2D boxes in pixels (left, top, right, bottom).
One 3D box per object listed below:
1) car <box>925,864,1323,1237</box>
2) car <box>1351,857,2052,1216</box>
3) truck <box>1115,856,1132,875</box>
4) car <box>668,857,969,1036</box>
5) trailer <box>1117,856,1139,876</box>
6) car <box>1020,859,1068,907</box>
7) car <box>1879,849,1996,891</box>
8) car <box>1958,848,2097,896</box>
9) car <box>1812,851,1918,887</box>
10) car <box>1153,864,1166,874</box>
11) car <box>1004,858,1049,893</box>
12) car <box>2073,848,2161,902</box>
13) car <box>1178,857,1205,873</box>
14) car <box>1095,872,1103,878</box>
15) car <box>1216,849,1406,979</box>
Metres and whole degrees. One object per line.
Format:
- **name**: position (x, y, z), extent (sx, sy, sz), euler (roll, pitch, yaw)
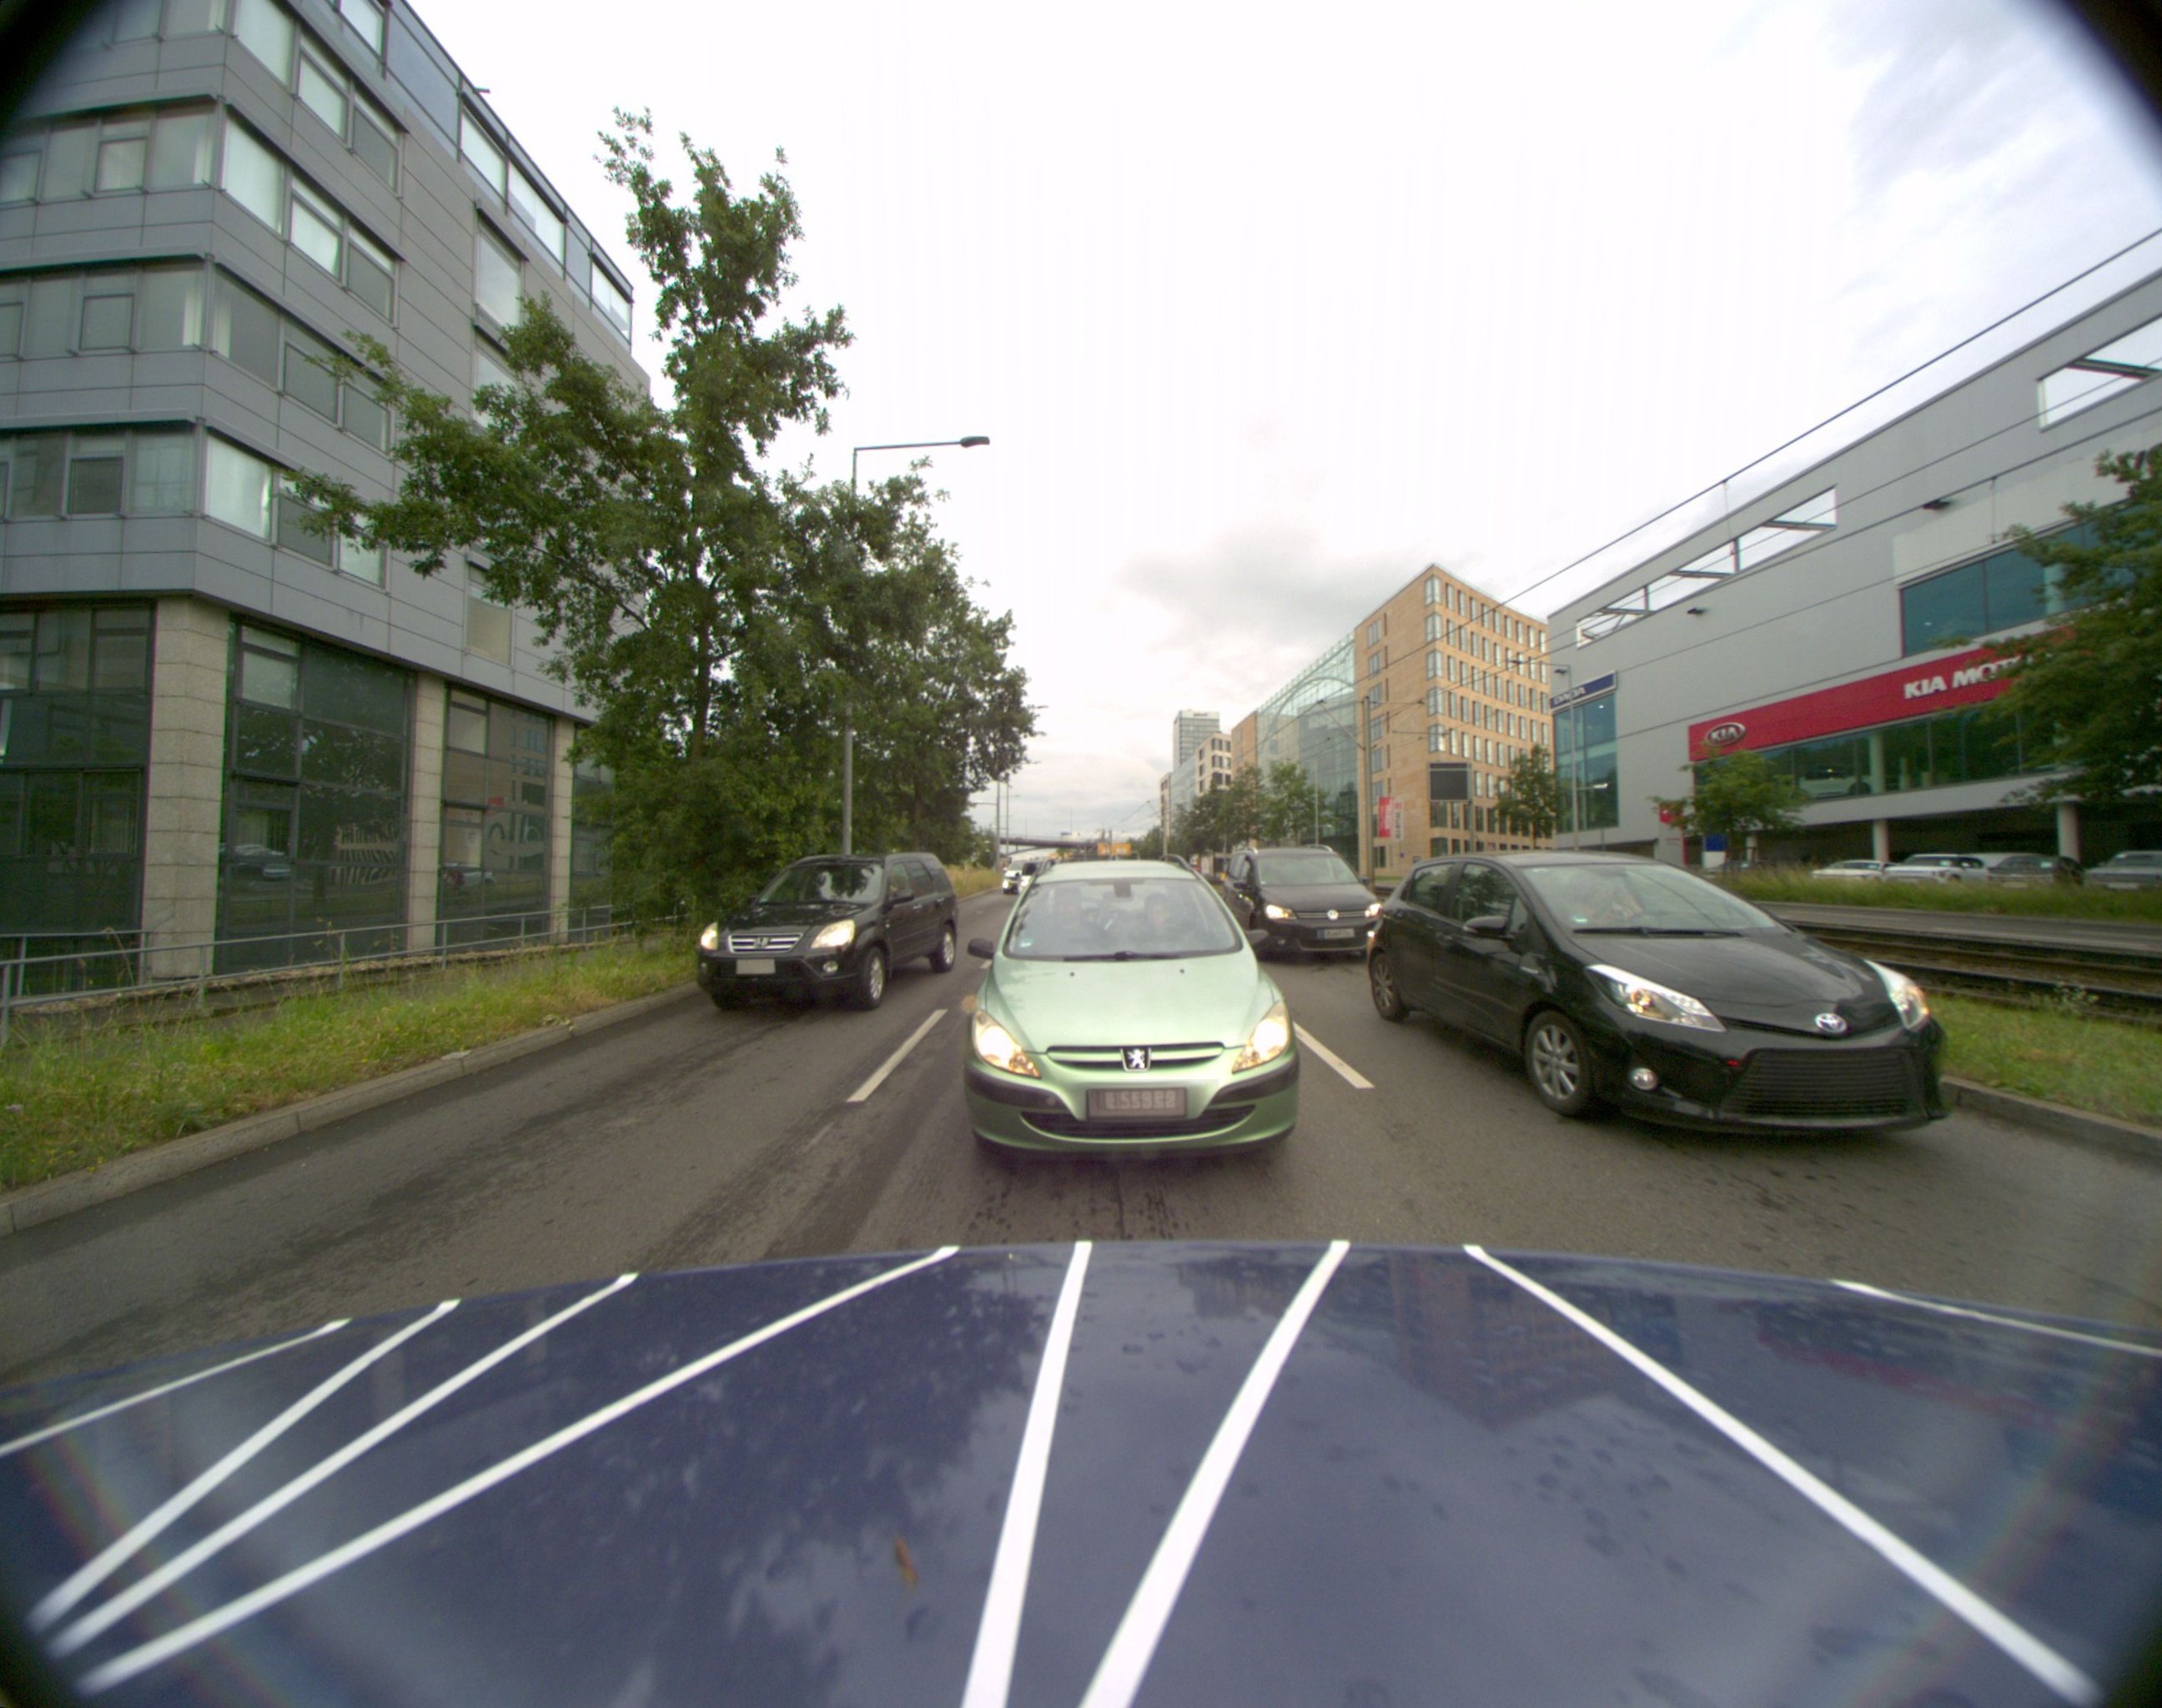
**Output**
- **car**: position (0.174, 0.885, 5.501), extent (1.704, 1.523, 4.370), euler (-1, 0, -1)
- **car**: position (3.429, 0.811, 5.267), extent (1.704, 1.523, 3.826), euler (-1, 0, -1)
- **truck**: position (9.789, 2.619, 176.212), extent (3.144, 4.219, 7.026), euler (2, 0, -3)
- **car**: position (-2.826, 0.894, 9.371), extent (1.758, 1.649, 4.340), euler (-1, 0, 7)
- **trailer**: position (10.276, 2.584, 168.363), extent (3.143, 4.304, 13.277), euler (2, 0, -3)
- **car**: position (-1.289, 0.941, 26.025), extent (1.518, 1.495, 3.167), euler (-1, 0, -4)
- **car**: position (31.762, 0.565, 28.169), extent (3.668, 1.287, 1.696), euler (-4, 1, -22)
- **car**: position (31.601, 0.573, 25.388), extent (3.528, 1.344, 1.696), euler (-4, 1, -17)
- **car**: position (31.740, 0.581, 30.774), extent (3.668, 1.181, 1.696), euler (-4, 1, -22)
- **car**: position (12.932, 2.450, 125.352), extent (1.588, 1.504, 4.101), euler (1, 0, -2)
- **car**: position (-2.506, 0.983, 35.791), extent (1.828, 1.495, 3.766), euler (-1, 0, -1)
- **car**: position (32.029, 0.592, 22.843), extent (3.528, 1.344, 1.696), euler (-4, 1, -20)
- **car**: position (12.303, 1.187, 84.979), extent (1.999, 1.709, 4.839), euler (1, 0, -4)
- **car**: position (4.675, 5.411, 197.032), extent (1.655, 1.428, 3.877), euler (-2, 1, -6)
- **car**: position (3.306, 0.765, 11.838), extent (1.786, 1.597, 4.318), euler (-2, 0, 3)
